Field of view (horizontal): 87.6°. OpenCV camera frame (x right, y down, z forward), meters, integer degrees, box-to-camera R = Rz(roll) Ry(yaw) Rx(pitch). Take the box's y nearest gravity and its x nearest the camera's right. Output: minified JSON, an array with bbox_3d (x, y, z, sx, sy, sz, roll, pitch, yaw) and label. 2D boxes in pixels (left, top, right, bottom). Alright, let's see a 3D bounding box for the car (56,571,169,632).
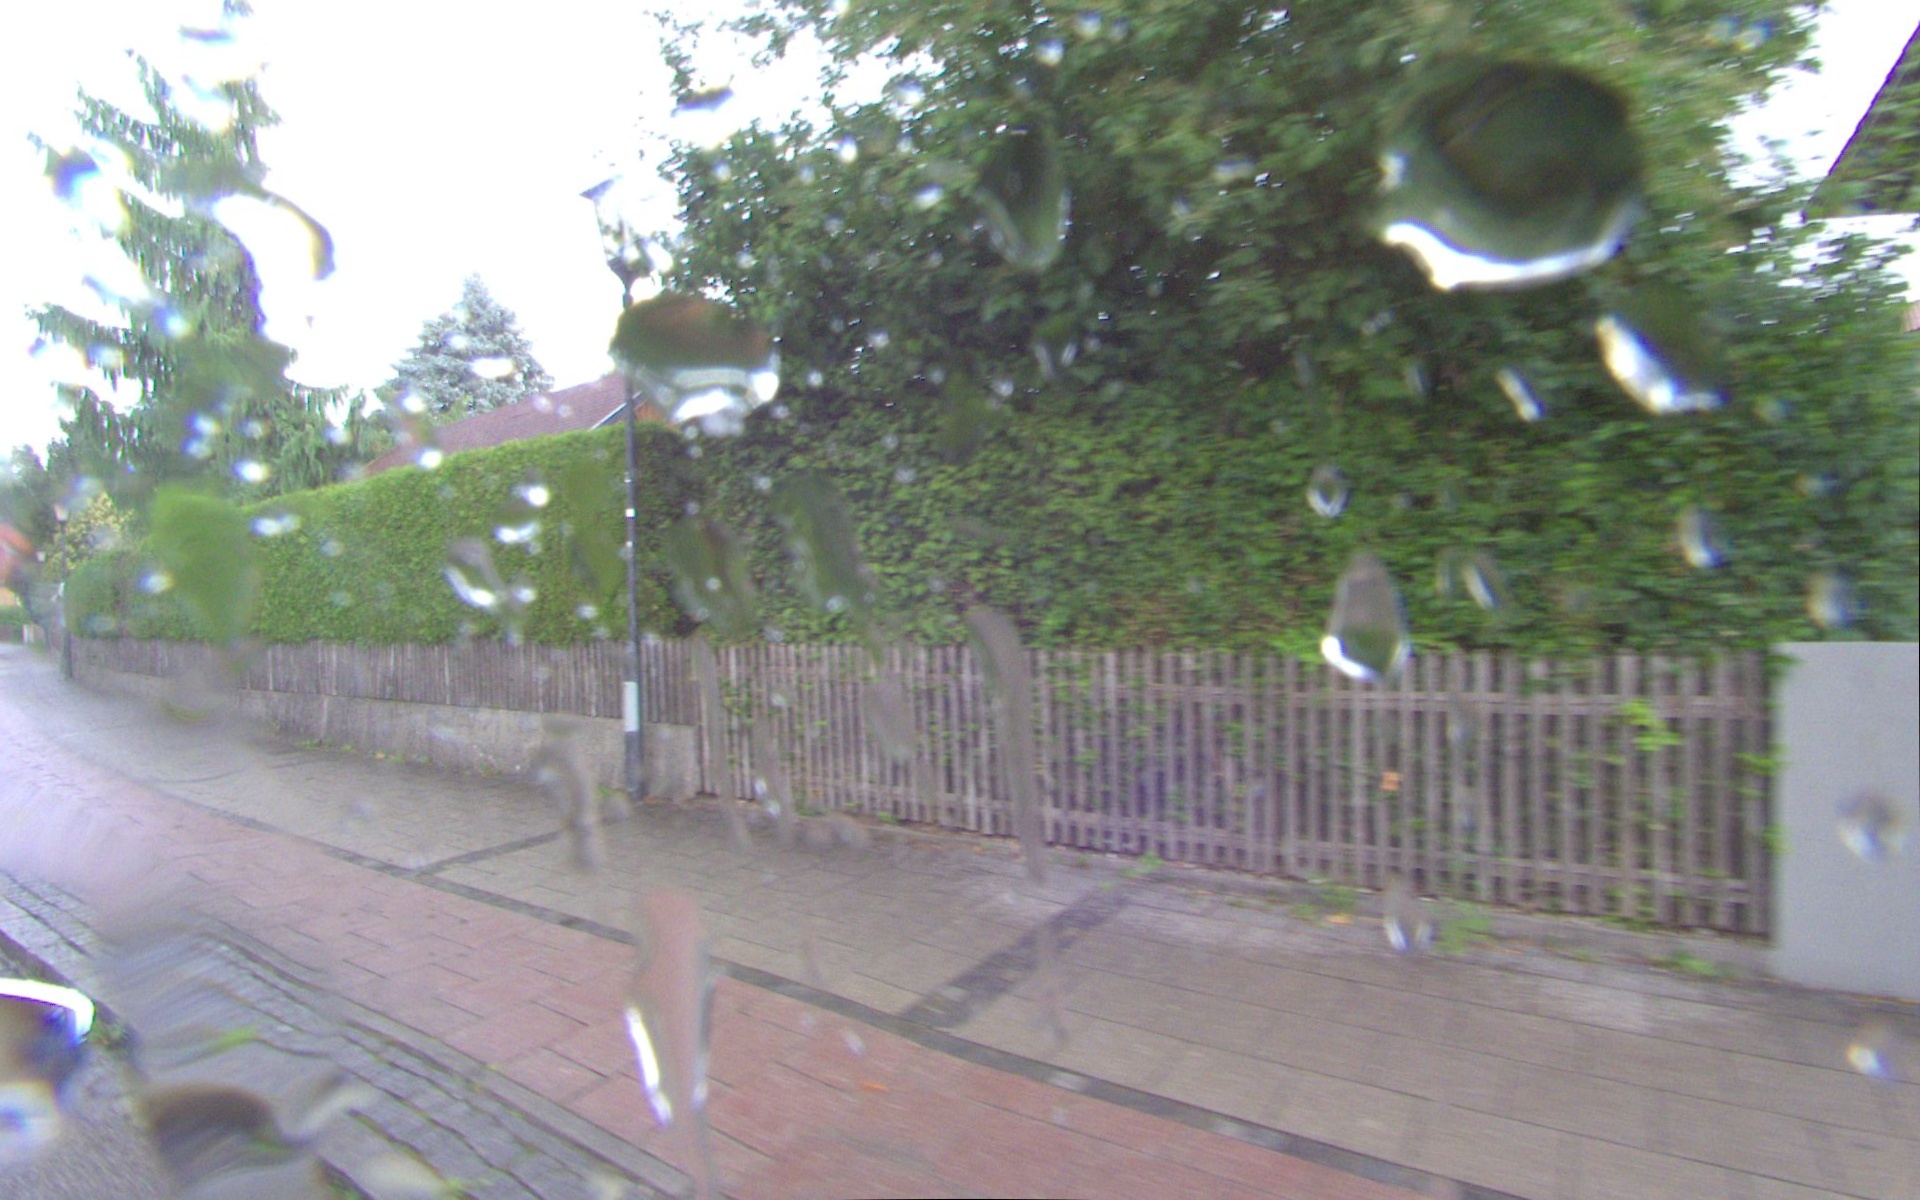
[{"bbox_3d":[-33.087,0.133,39.060,4.882,2.201,1.990,-1,-2,32],"label":"car"}]
